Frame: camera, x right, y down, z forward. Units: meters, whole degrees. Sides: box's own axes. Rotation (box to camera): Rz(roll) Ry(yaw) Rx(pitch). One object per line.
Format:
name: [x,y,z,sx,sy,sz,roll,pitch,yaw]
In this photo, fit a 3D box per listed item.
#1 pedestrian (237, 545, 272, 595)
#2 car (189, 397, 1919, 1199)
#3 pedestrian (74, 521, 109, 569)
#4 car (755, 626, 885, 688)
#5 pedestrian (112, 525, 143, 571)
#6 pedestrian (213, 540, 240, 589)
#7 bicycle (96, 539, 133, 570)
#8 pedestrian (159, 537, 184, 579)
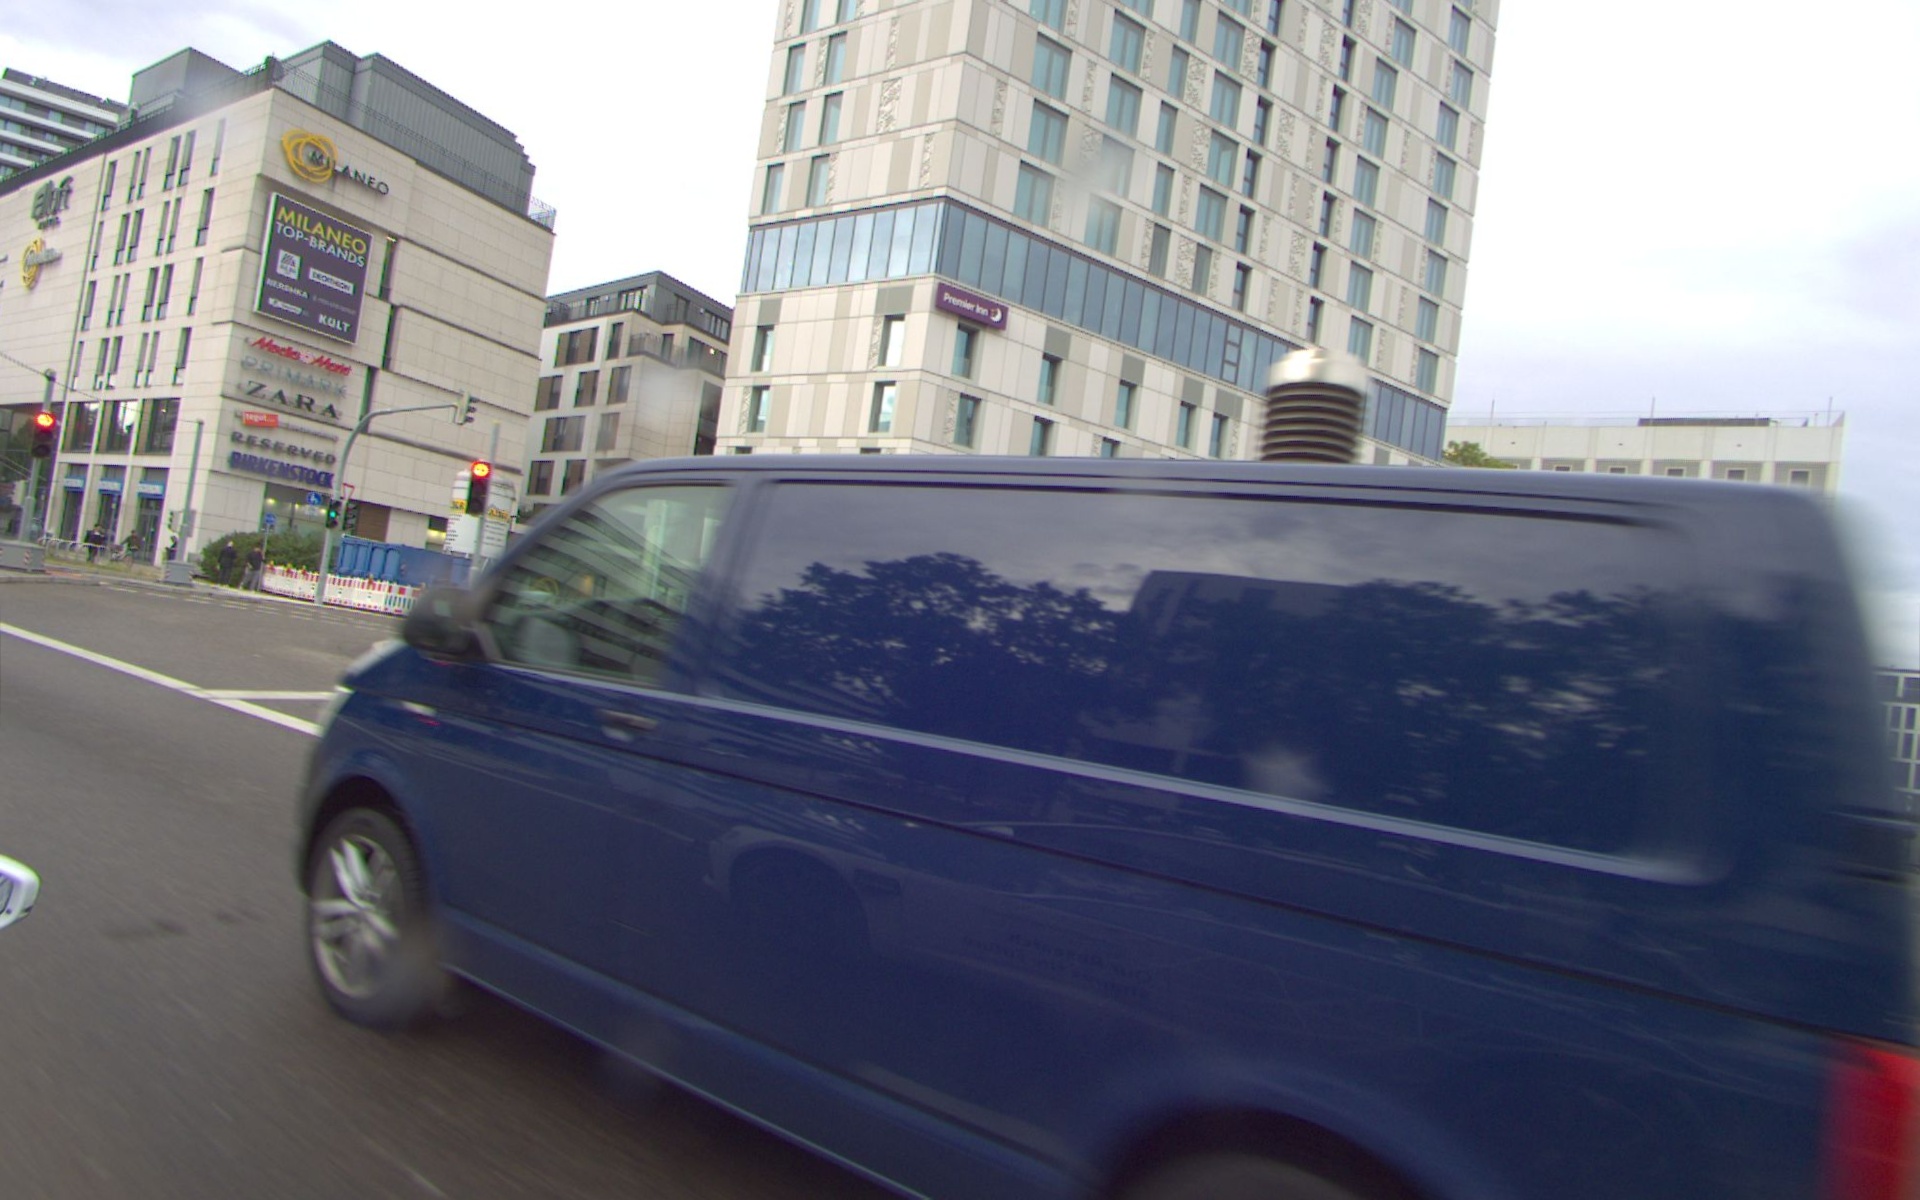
pedestrian: [-25.487,-1.071,36.345,0.810,1.691,0.622,6,-1,32]
car: [-0.102,0.569,3.201,4.959,1.905,2.036,8,0,33]
pedestrian: [-31.995,-2.018,37.047,0.805,1.629,0.614,6,-1,32]
car: [-4.818,1.974,34.798,3.962,1.448,1.731,12,-4,-30]
pedestrian: [-31.686,-1.975,38.289,0.687,1.629,0.551,6,-1,32]
pedestrian: [-28.394,-1.382,38.953,0.589,1.801,0.437,8,-1,-31]
bicycle: [-31.959,-1.724,38.015,1.713,1.027,0.450,6,-2,31]
pedestrian: [-32.929,-1.766,42.014,0.590,1.661,0.583,8,-1,-33]
